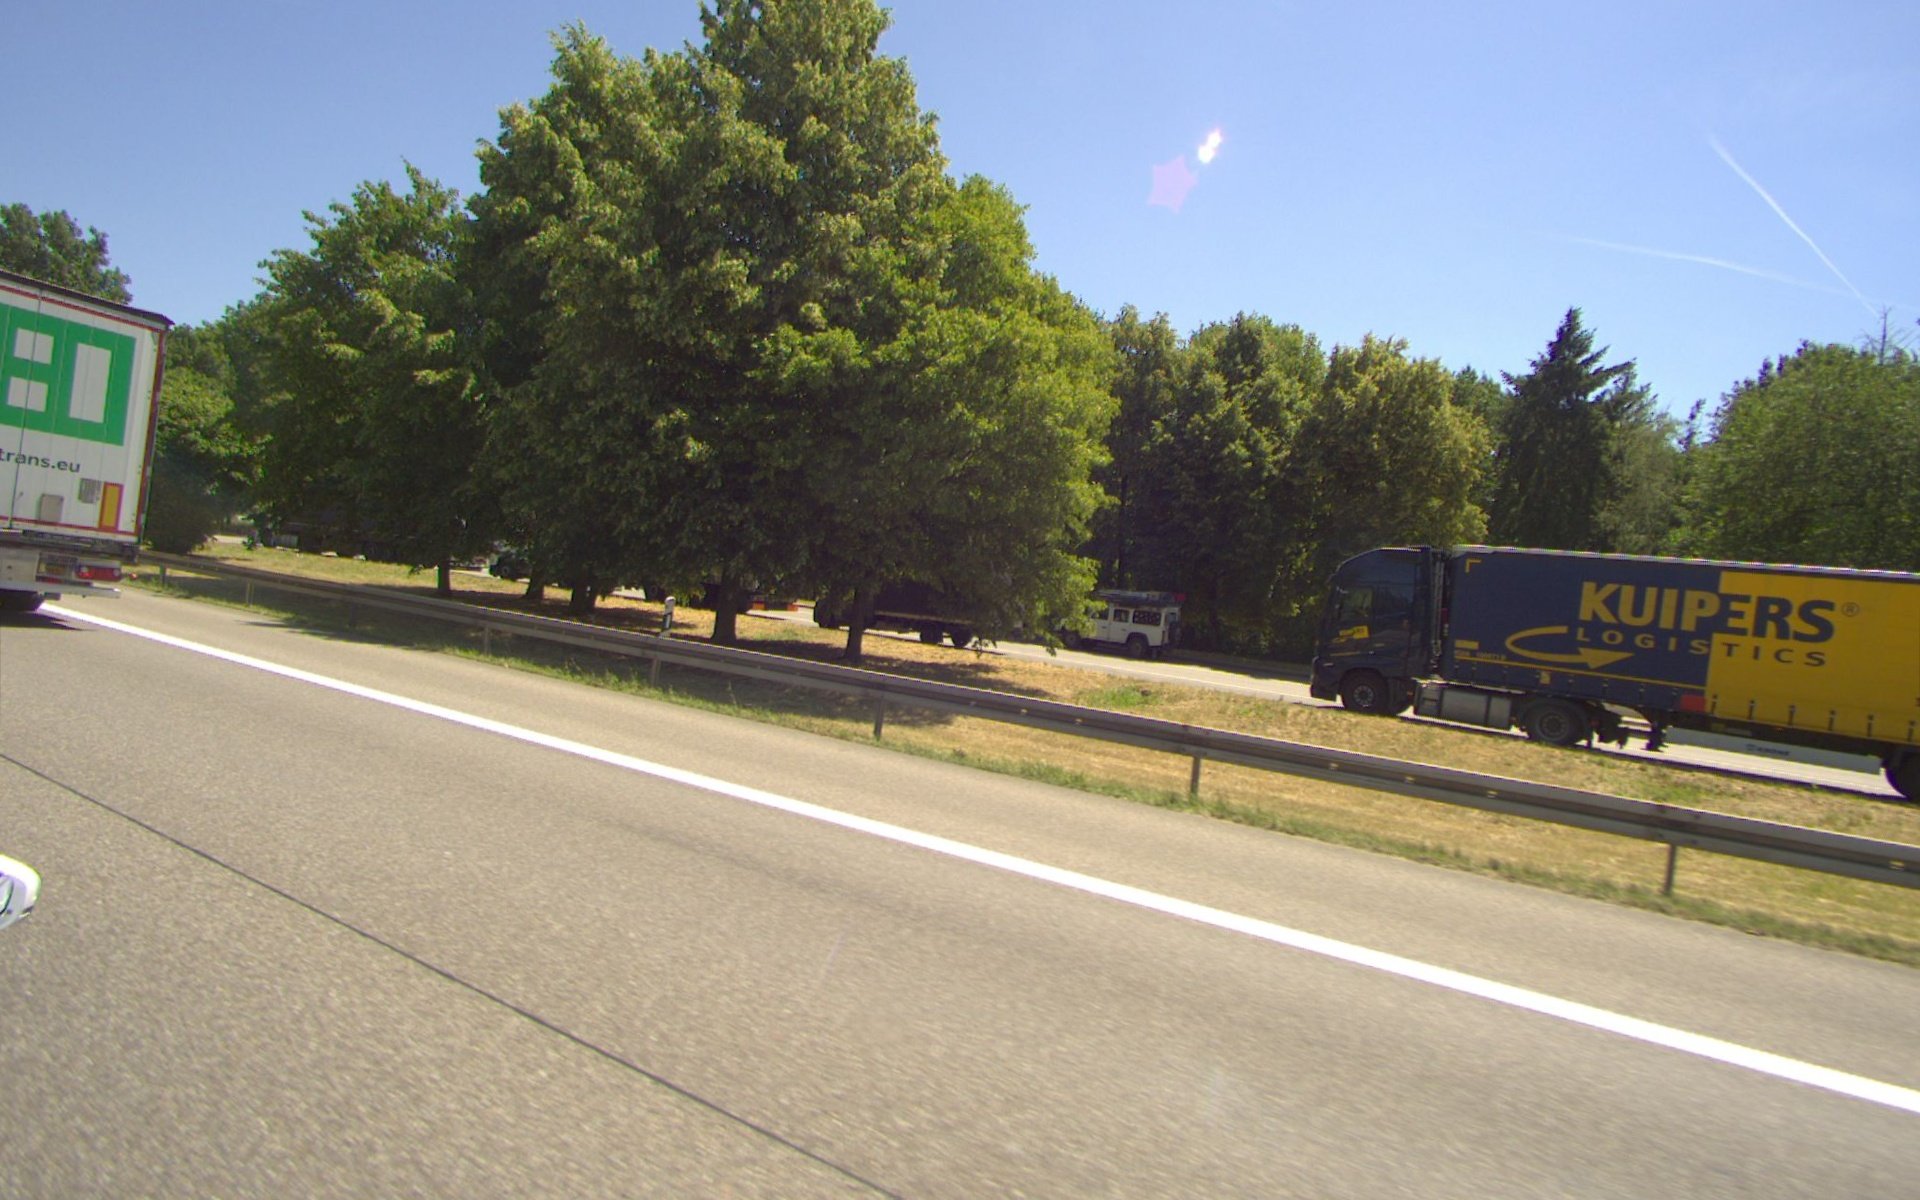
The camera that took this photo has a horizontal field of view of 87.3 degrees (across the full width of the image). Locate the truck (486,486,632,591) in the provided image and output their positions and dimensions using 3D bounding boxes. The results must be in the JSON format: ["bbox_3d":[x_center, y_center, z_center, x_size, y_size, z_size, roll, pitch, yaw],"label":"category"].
[{"bbox_3d":[-17.463,-2.685,43.801,5.230,3.835,3.093,7,-1,33],"label":"truck"}]

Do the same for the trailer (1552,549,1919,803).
[{"bbox_3d":[17.459,1.573,17.833,11.381,3.983,3.182,6,0,39],"label":"trailer"}]

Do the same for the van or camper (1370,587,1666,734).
[{"bbox_3d":[16.162,1.664,29.435,6.898,3.275,2.995,7,1,39],"label":"van or camper"}]

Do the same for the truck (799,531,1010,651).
[{"bbox_3d":[-1.911,-0.365,32.748,6.516,3.123,2.469,6,-1,37],"label":"truck"}]

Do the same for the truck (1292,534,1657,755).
[{"bbox_3d":[11.452,0.873,22.664,6.518,3.983,3.183,6,0,38],"label":"truck"}]

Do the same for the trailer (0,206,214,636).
[{"bbox_3d":[-15.591,-2.549,14.641,11.851,4.685,3.185,7,0,32],"label":"trailer"}]

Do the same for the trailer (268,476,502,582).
[{"bbox_3d":[-28.803,-3.628,49.990,13.954,4.002,3.140,7,1,29],"label":"trailer"}]

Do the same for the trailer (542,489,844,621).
[{"bbox_3d":[-10.796,-1.913,39.423,13.145,3.835,3.106,7,-1,33],"label":"trailer"}]

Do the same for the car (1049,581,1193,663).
[{"bbox_3d":[5.968,0.803,37.605,4.709,2.470,1.992,7,1,39],"label":"car"}]
